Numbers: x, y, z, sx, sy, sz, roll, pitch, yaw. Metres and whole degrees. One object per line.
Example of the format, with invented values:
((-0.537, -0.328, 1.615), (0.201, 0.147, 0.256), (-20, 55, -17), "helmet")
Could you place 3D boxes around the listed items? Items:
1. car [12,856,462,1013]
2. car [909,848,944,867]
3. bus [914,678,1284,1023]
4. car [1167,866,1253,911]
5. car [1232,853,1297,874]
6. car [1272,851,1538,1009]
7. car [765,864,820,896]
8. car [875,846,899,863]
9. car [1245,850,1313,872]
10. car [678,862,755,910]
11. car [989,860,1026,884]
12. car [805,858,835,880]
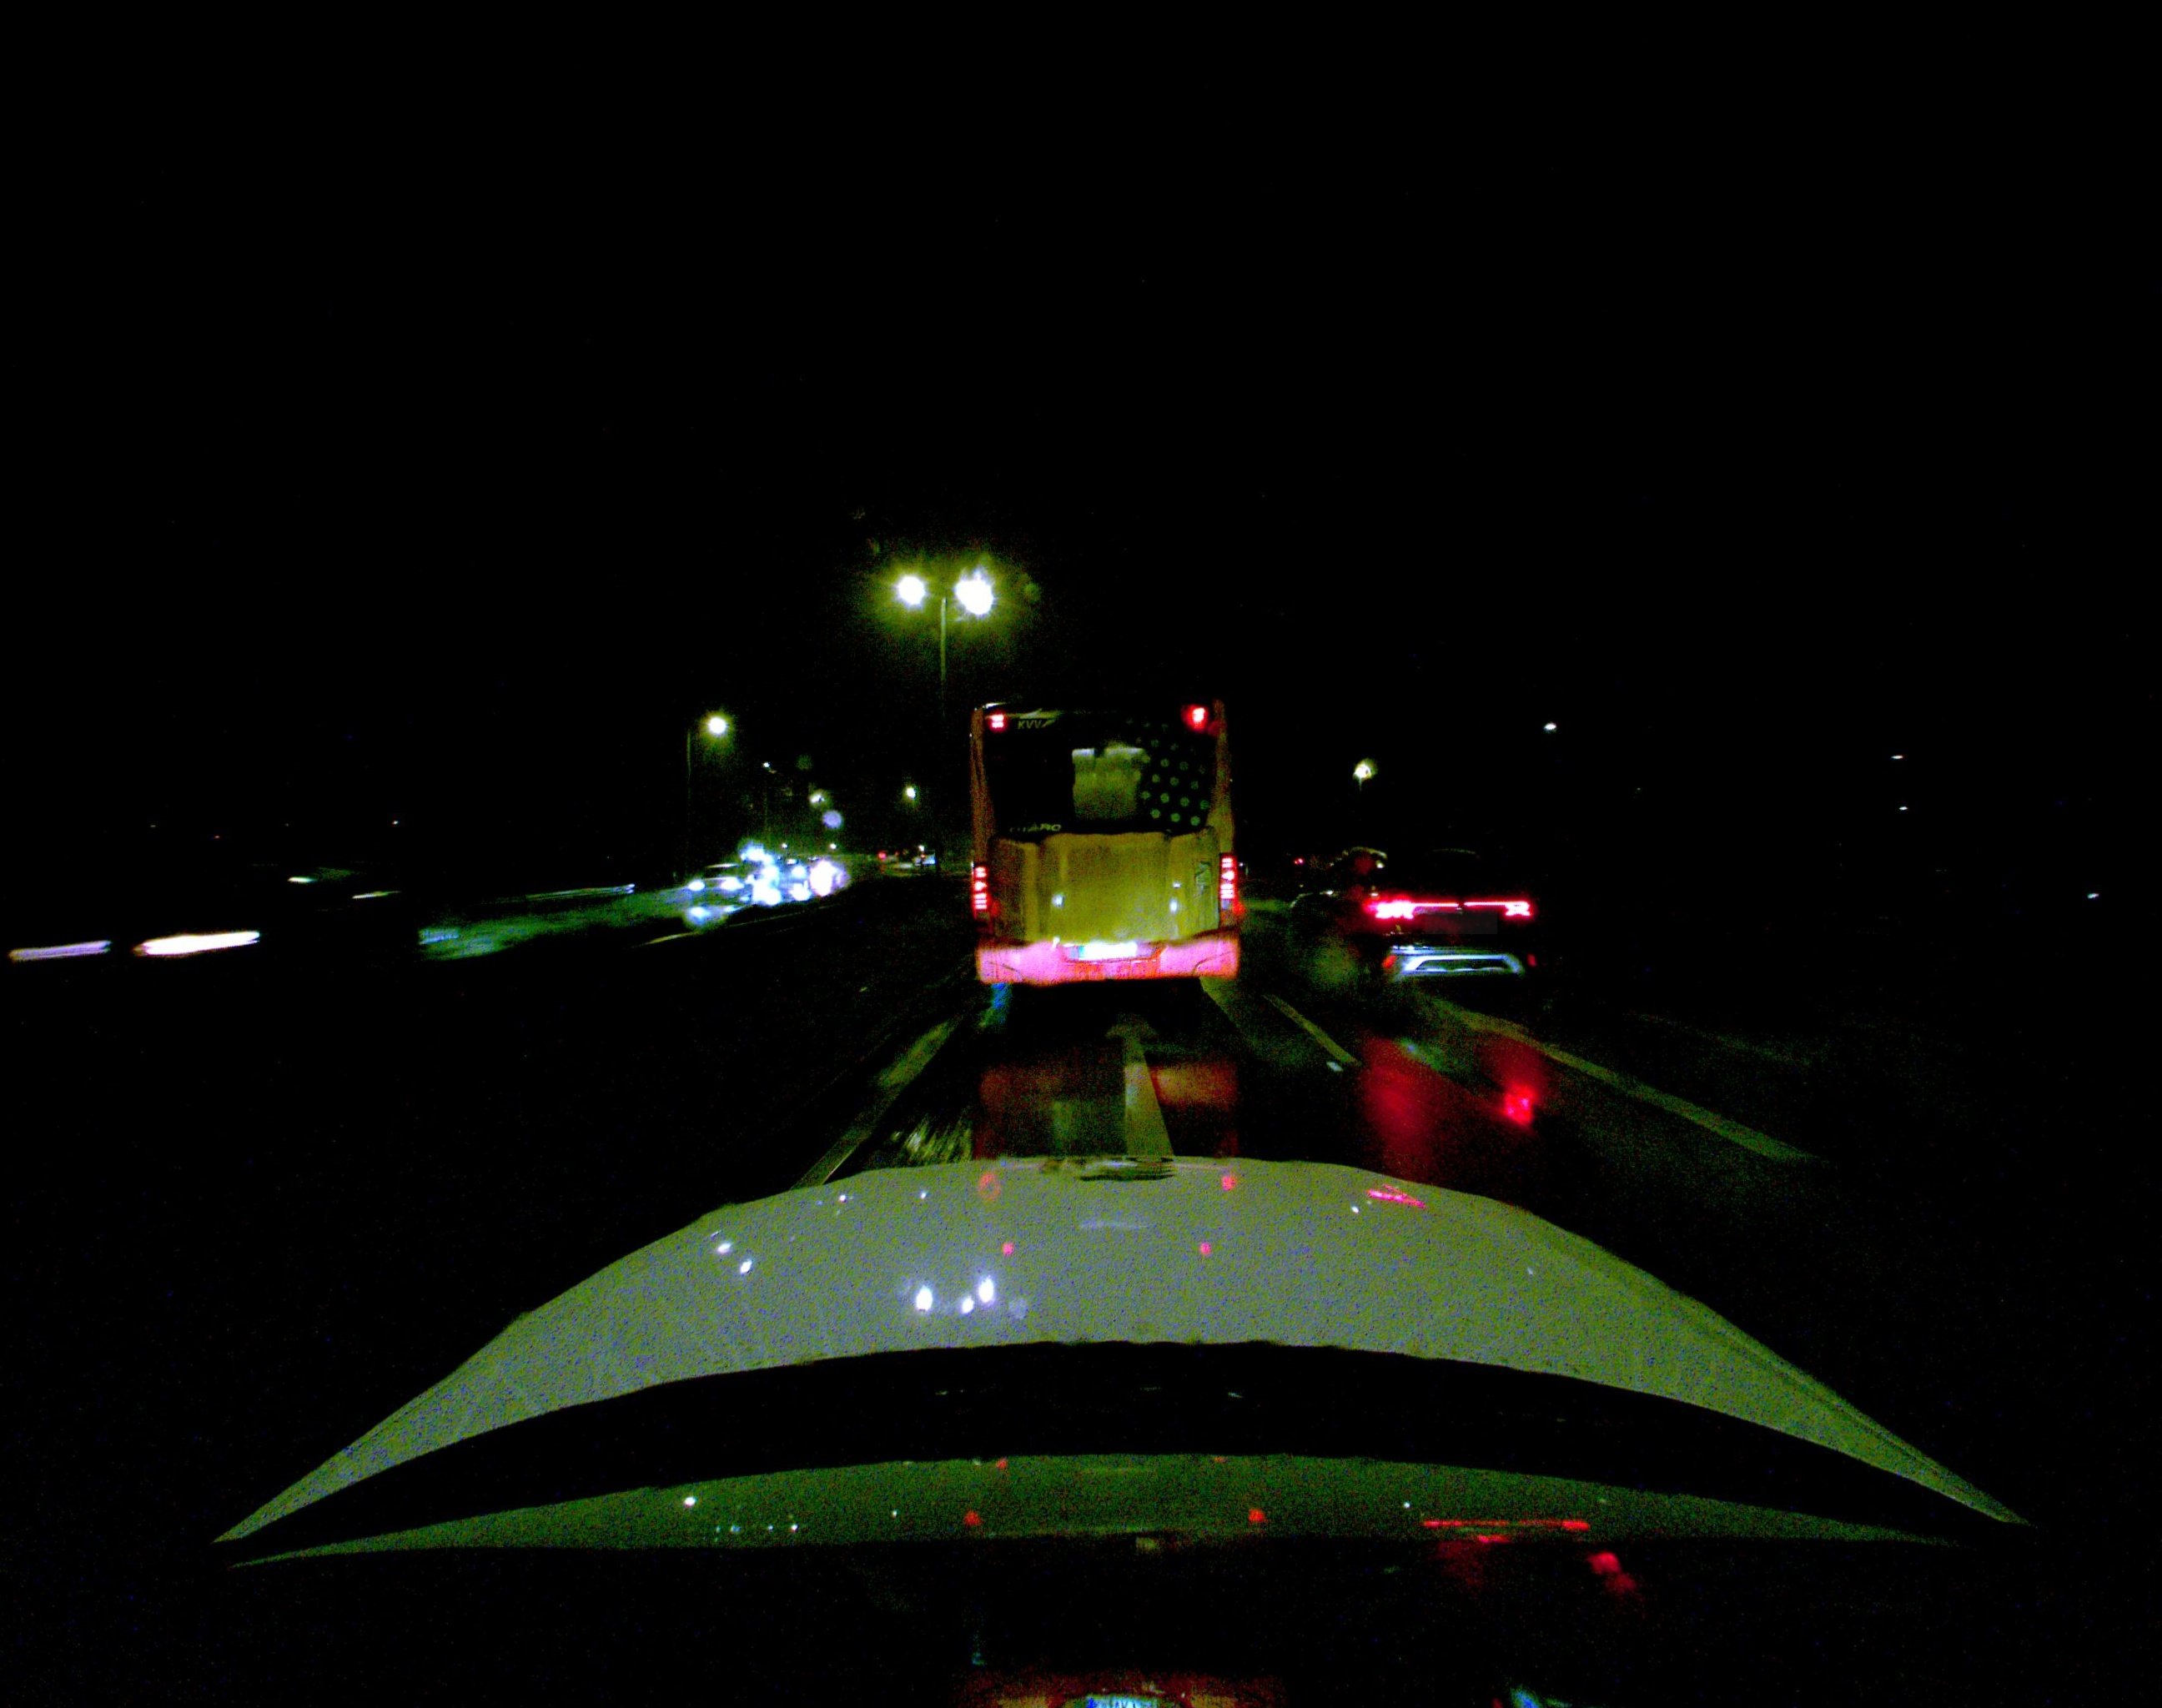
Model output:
((-10.636, 0.862, 10.848), (1.762, 1.631, 4.243), (-1, 0, -5), "car")
((-14.252, 0.339, 75.017), (2.102, 1.644, 3.694), (0, -1, -30), "car")
((0.066, -0.108, 12.137), (3.276, 3.050, 9.538), (-1, 1, -1), "bus")
((4.074, 1.085, 26.301), (1.685, 1.330, 3.949), (0, -1, -8), "car")
((12.489, 0.636, 55.594), (4.035, 1.345, 1.744), (0, 1, -5), "car")
((3.589, 0.761, 9.837), (1.671, 1.521, 3.960), (0, -1, 1), "car")
((-15.487, 1.344, 43.894), (1.773, 1.593, 4.549), (-2, -1, -7), "car")
((-21.254, 0.085, 89.185), (2.002, 1.721, 3.970), (0, -1, -22), "car")
((14.462, 0.485, 59.668), (4.475, 1.519, 1.854), (0, 1, -5), "car")
((-13.593, 1.142, 30.603), (1.849, 1.571, 3.494), (-1, 1, -11), "car")
((-5.199, 1.250, 57.250), (1.821, 1.618, 3.976), (0, -1, -18), "car")
((-19.341, 1.103, 60.498), (1.736, 1.495, 3.923), (-3, 0, -13), "car")
